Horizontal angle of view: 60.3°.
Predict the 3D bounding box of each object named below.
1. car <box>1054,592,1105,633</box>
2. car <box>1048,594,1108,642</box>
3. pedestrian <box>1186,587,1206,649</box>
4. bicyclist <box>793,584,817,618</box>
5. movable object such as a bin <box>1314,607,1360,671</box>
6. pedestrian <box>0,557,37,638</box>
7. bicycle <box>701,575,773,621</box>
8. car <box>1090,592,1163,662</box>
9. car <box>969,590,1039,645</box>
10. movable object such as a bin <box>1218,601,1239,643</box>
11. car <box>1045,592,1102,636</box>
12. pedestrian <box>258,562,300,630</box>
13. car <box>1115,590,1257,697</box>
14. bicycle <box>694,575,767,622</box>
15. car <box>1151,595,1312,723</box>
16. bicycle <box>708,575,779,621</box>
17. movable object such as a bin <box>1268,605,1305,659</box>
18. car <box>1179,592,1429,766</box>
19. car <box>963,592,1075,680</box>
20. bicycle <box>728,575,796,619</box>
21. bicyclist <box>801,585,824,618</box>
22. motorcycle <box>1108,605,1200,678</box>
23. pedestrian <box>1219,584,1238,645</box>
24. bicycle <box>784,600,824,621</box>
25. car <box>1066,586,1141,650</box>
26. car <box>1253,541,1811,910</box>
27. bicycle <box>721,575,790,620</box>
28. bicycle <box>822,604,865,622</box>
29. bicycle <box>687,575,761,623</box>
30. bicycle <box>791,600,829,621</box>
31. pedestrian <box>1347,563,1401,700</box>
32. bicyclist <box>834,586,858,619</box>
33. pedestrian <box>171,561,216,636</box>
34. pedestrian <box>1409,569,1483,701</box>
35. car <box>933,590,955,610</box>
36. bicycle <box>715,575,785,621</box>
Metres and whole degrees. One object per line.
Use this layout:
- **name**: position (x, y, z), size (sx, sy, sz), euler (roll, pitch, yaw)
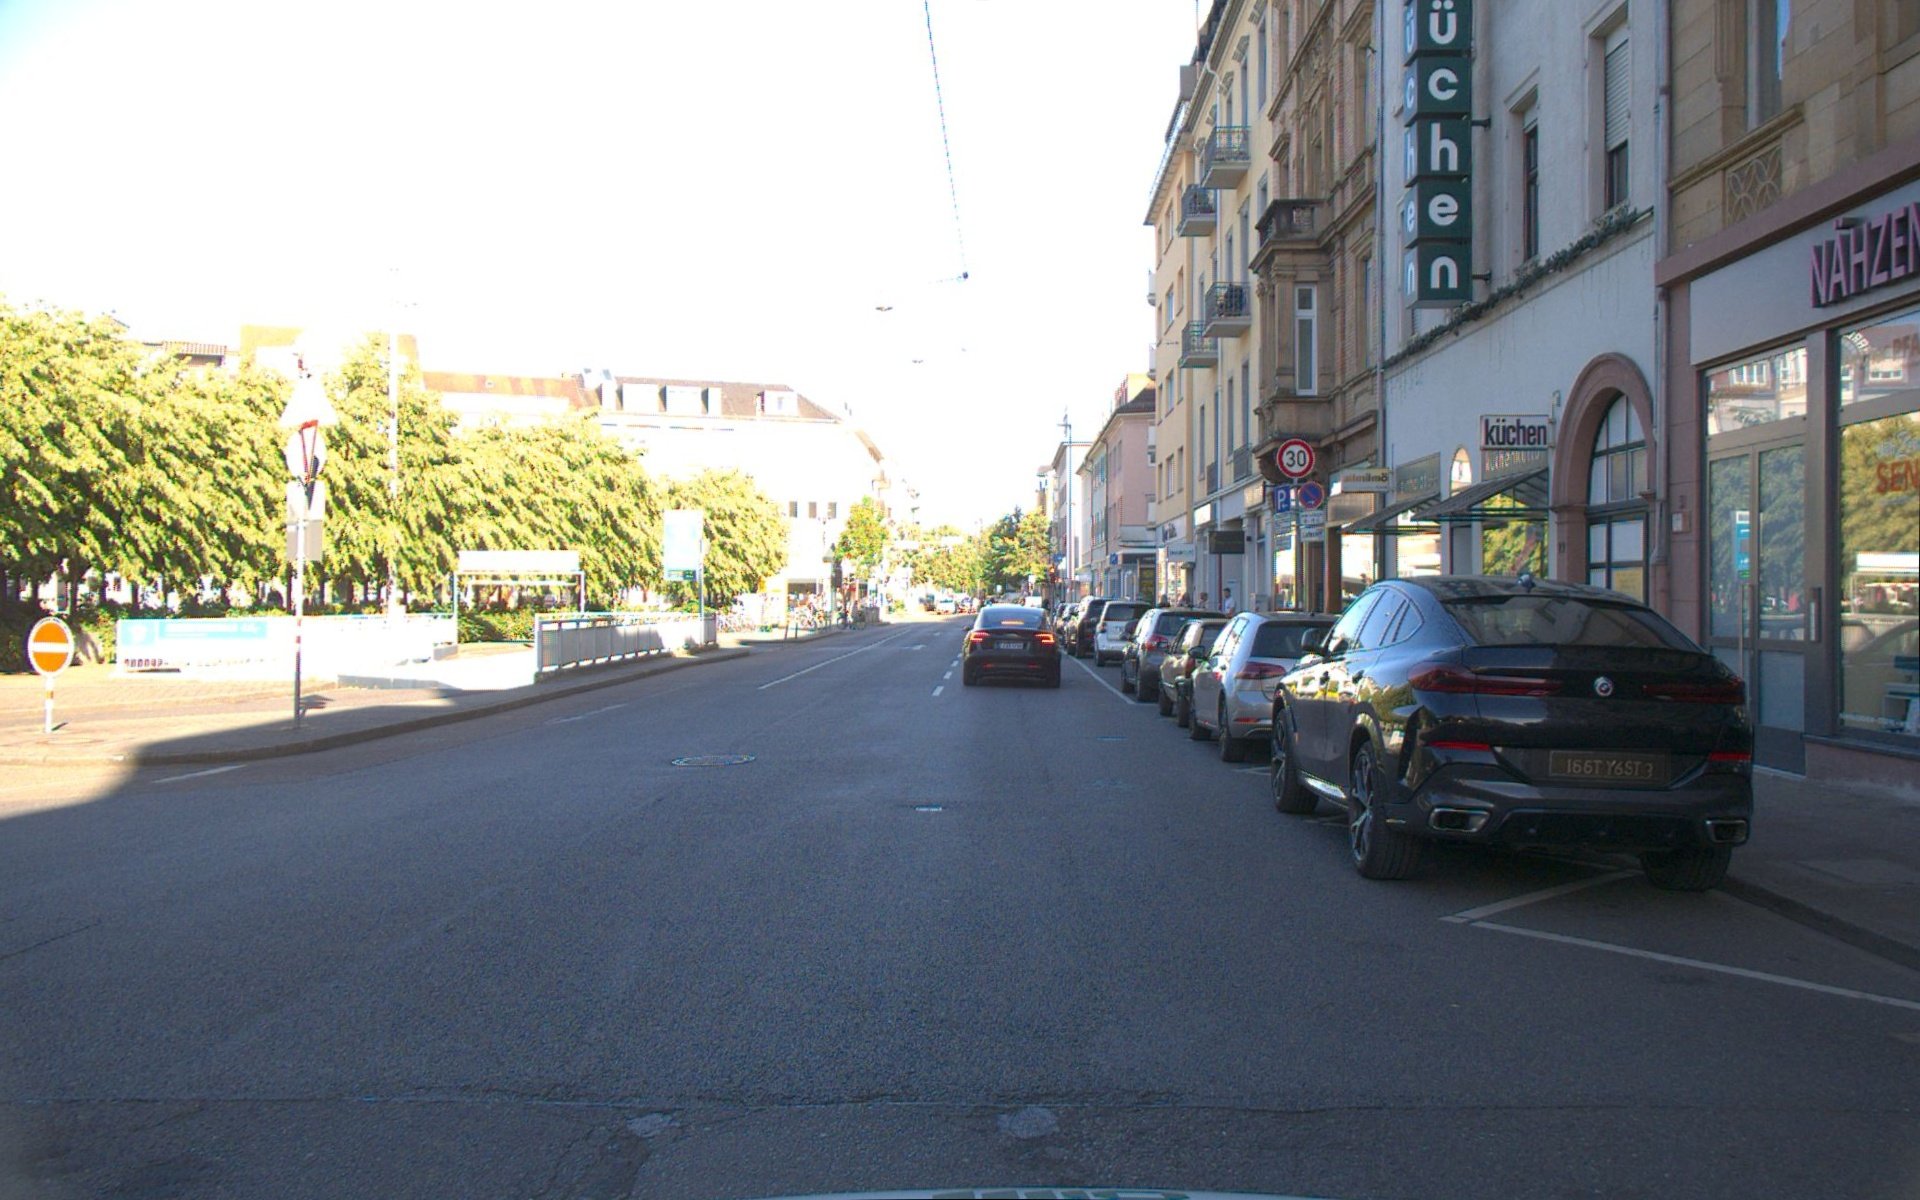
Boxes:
- **car**: position (4.585, 0.497, 63.750), size (1.755, 1.485, 3.868), euler (1, -1, 1)
- **car**: position (3.828, 0.586, 54.156), size (1.755, 1.485, 4.085), euler (1, -1, 1)
- **pedestrian**: position (6.449, 0.481, 45.224), size (0.460, 1.664, 0.513), euler (1, 0, 17)
- **bicyclist**: position (-7.895, 0.045, 84.302), size (1.123, 1.715, 0.918), euler (0, 0, -2)
- **movable object such as a bin**: position (6.727, 0.691, 29.560), size (0.665, 1.115, 0.626), euler (-1, 0, 1)
- **pedestrian**: position (-25.439, -0.074, 44.327), size (0.717, 2.145, 0.967), euler (0, 0, 23)
- **bicycle**: position (-10.042, -0.091, 74.392), size (3.054, 2.049, 0.910), euler (1, 0, 10)
- **car**: position (4.071, 0.633, 40.680), size (1.580, 1.573, 2.856), euler (2, 1, 2)
- **car**: position (1.311, 0.466, 47.894), size (1.894, 1.513, 4.273), euler (1, 0, 3)
- **movable object such as a bin**: position (7.001, 0.576, 43.121), size (0.446, 1.070, 0.500), euler (-1, 0, 0)
- **car**: position (4.009, 0.507, 59.050), size (1.755, 1.485, 3.868), euler (1, -1, 0)
- **pedestrian**: position (-21.552, -0.124, 52.352), size (0.717, 2.145, 0.967), euler (0, 0, 23)
- **car**: position (3.700, 0.661, 27.714), size (1.801, 1.573, 4.229), euler (2, 1, 0)
- **bicycle**: position (-10.202, -0.077, 73.404), size (3.054, 2.049, 0.910), euler (1, 0, 10)
- **car**: position (3.541, 0.715, 22.115), size (1.575, 1.474, 3.831), euler (2, 1, 1)
- **bicycle**: position (-9.854, -0.079, 75.435), size (3.054, 2.049, 0.910), euler (1, 0, 10)
- **movable object such as a bin**: position (6.884, 0.675, 34.900), size (0.631, 1.094, 0.820), euler (-1, 0, 2)
- **car**: position (3.442, 0.717, 17.323), size (1.801, 1.513, 4.185), euler (2, 1, 1)
- **car**: position (1.053, 0.662, 31.550), size (1.954, 1.506, 4.495), euler (1, -1, 0)
- **bicycle**: position (-9.417, -0.140, 78.591), size (3.054, 2.049, 0.910), euler (1, 0, 10)
- **bicyclist**: position (-7.725, 0.061, 86.821), size (1.123, 1.715, 0.819), euler (0, 0, -2)
- **motorcycle**: position (3.765, 0.778, 31.917), size (2.029, 1.351, 0.646), euler (0, 0, -45)
- **pedestrian**: position (7.390, 0.384, 45.495), size (0.460, 1.664, 0.513), euler (1, 0, 6)
- **bicycle**: position (-7.967, 0.555, 84.295), size (1.971, 1.040, 0.887), euler (0, 0, -2)
- **car**: position (3.983, 0.508, 46.511), size (1.681, 1.664, 4.083), euler (1, -1, -1)
- **car**: position (3.224, 0.583, 10.507), size (1.933, 1.755, 4.825), euler (2, 1, 1)
- **bicycle**: position (-9.596, -0.127, 77.551), size (3.054, 2.049, 0.910), euler (1, 0, 10)
- **bicycle**: position (-6.232, 0.698, 88.637), size (2.196, 0.898, 0.924), euler (0, 0, 5)
- **bicycle**: position (-10.337, -0.057, 72.450), size (3.054, 2.049, 0.910), euler (1, 0, 10)
- **bicycle**: position (-7.864, 0.549, 86.811), size (1.971, 1.040, 0.762), euler (0, 0, -2)
- **pedestrian**: position (5.499, 0.416, 21.981), size (0.607, 1.797, 0.519), euler (0, 0, 4)
- **bicyclist**: position (-6.101, 0.127, 88.635), size (1.122, 1.715, 0.915), euler (0, 0, 4)
- **pedestrian**: position (-22.311, -0.051, 48.153), size (0.717, 2.145, 0.967), euler (0, 0, 23)
- **pedestrian**: position (6.428, 0.461, 21.885), size (0.784, 1.704, 0.590), euler (-2, 0, 4)
- **car**: position (-1.564, -0.025, 161.880), size (1.952, 1.802, 4.002), euler (1, 1, 2)
- **bicycle**: position (-9.730, -0.090, 76.516), size (3.054, 2.049, 0.910), euler (1, 0, 10)
